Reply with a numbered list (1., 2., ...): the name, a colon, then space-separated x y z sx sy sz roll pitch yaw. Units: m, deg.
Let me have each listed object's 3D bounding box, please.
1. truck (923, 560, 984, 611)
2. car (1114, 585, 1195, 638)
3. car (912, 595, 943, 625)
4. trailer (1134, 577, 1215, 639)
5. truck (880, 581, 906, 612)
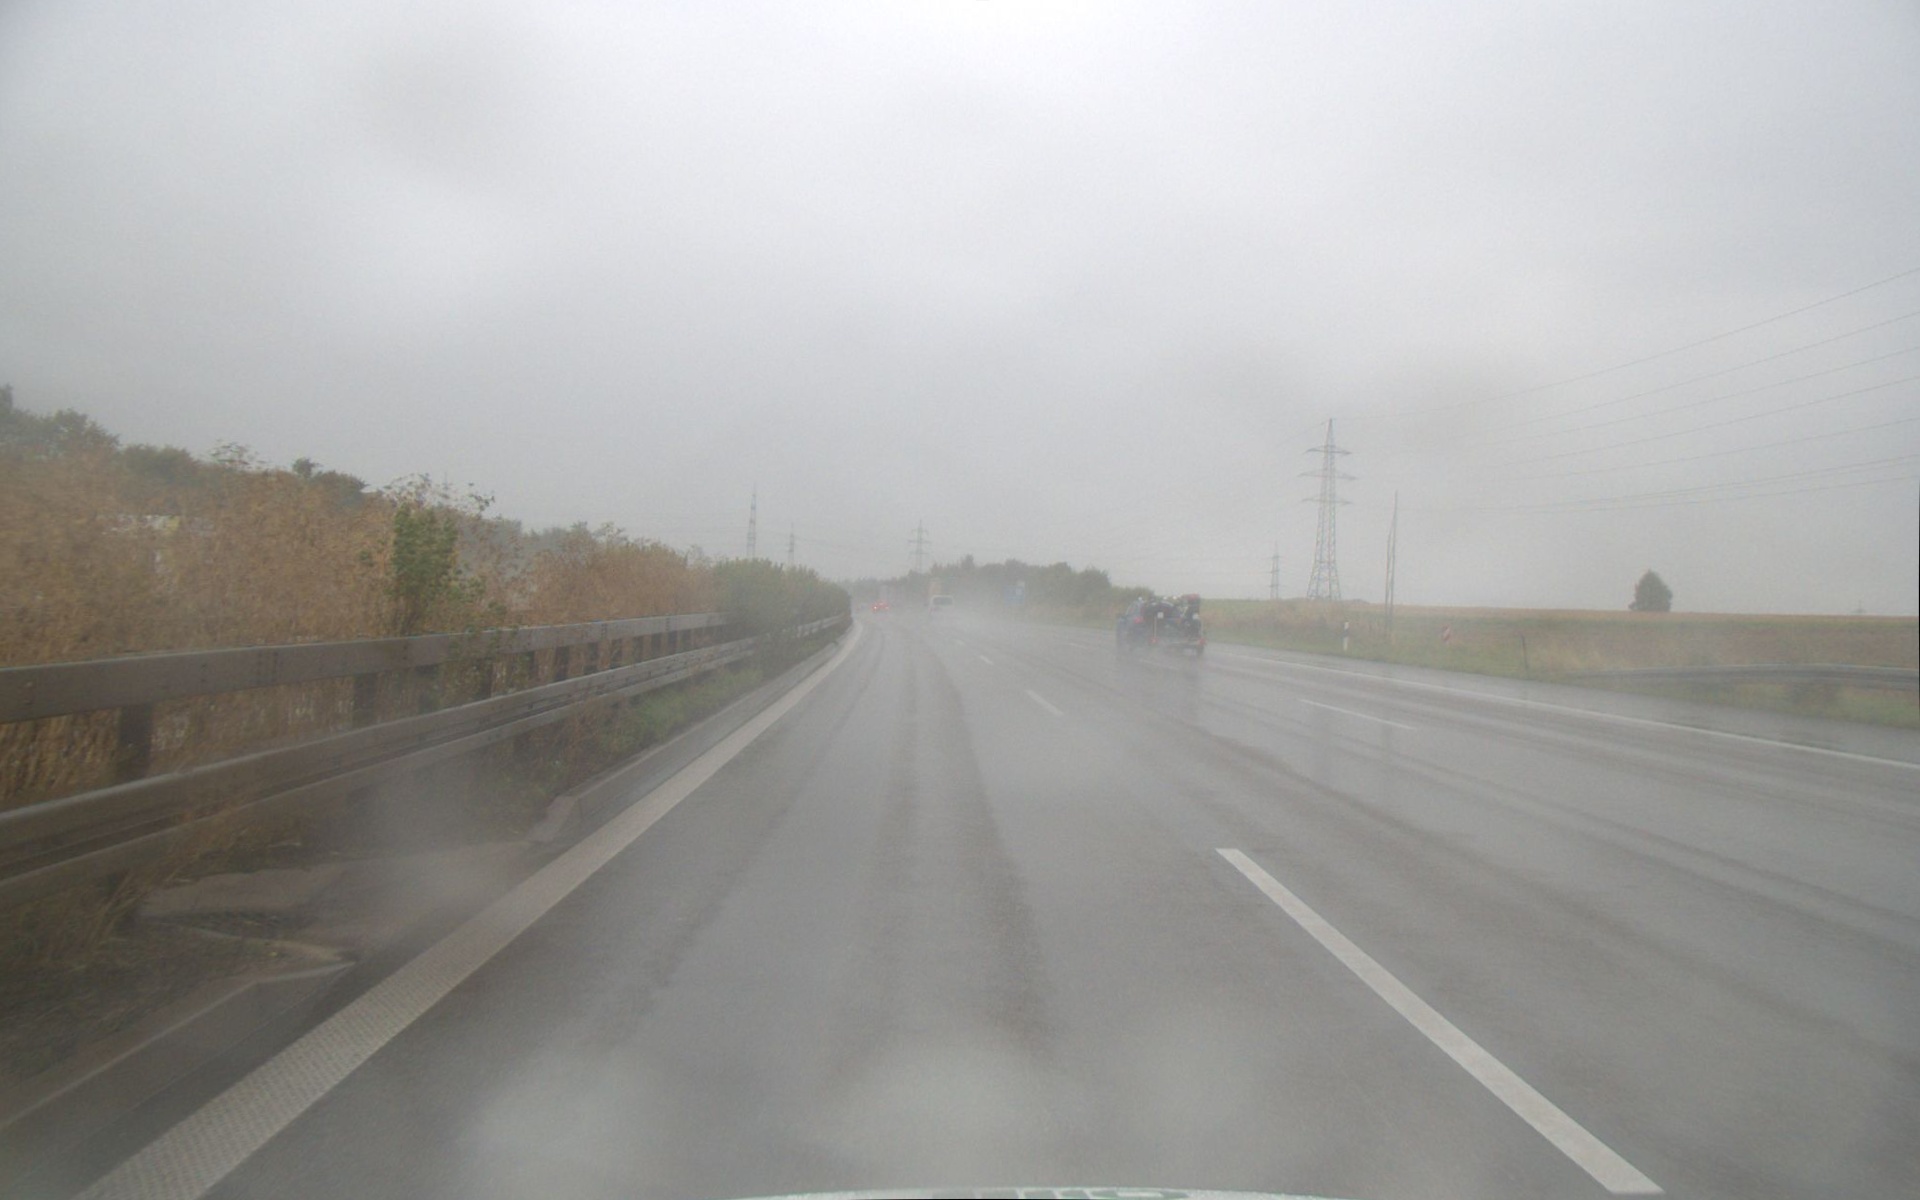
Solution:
1. truck: -0.796 -1.308 165.583 4.110 4.711 16.077 1 -1 -7
2. car: 6.350 0.409 54.454 1.953 1.647 4.990 1 -1 -2
3. car: -2.318 0.719 117.296 1.954 2.049 3.997 1 0 -4
4. trailer: 6.502 0.256 50.392 1.939 1.816 3.187 1 -1 -2
5. truck: -9.755 -0.530 239.472 3.170 4.387 8.824 1 0 -6
